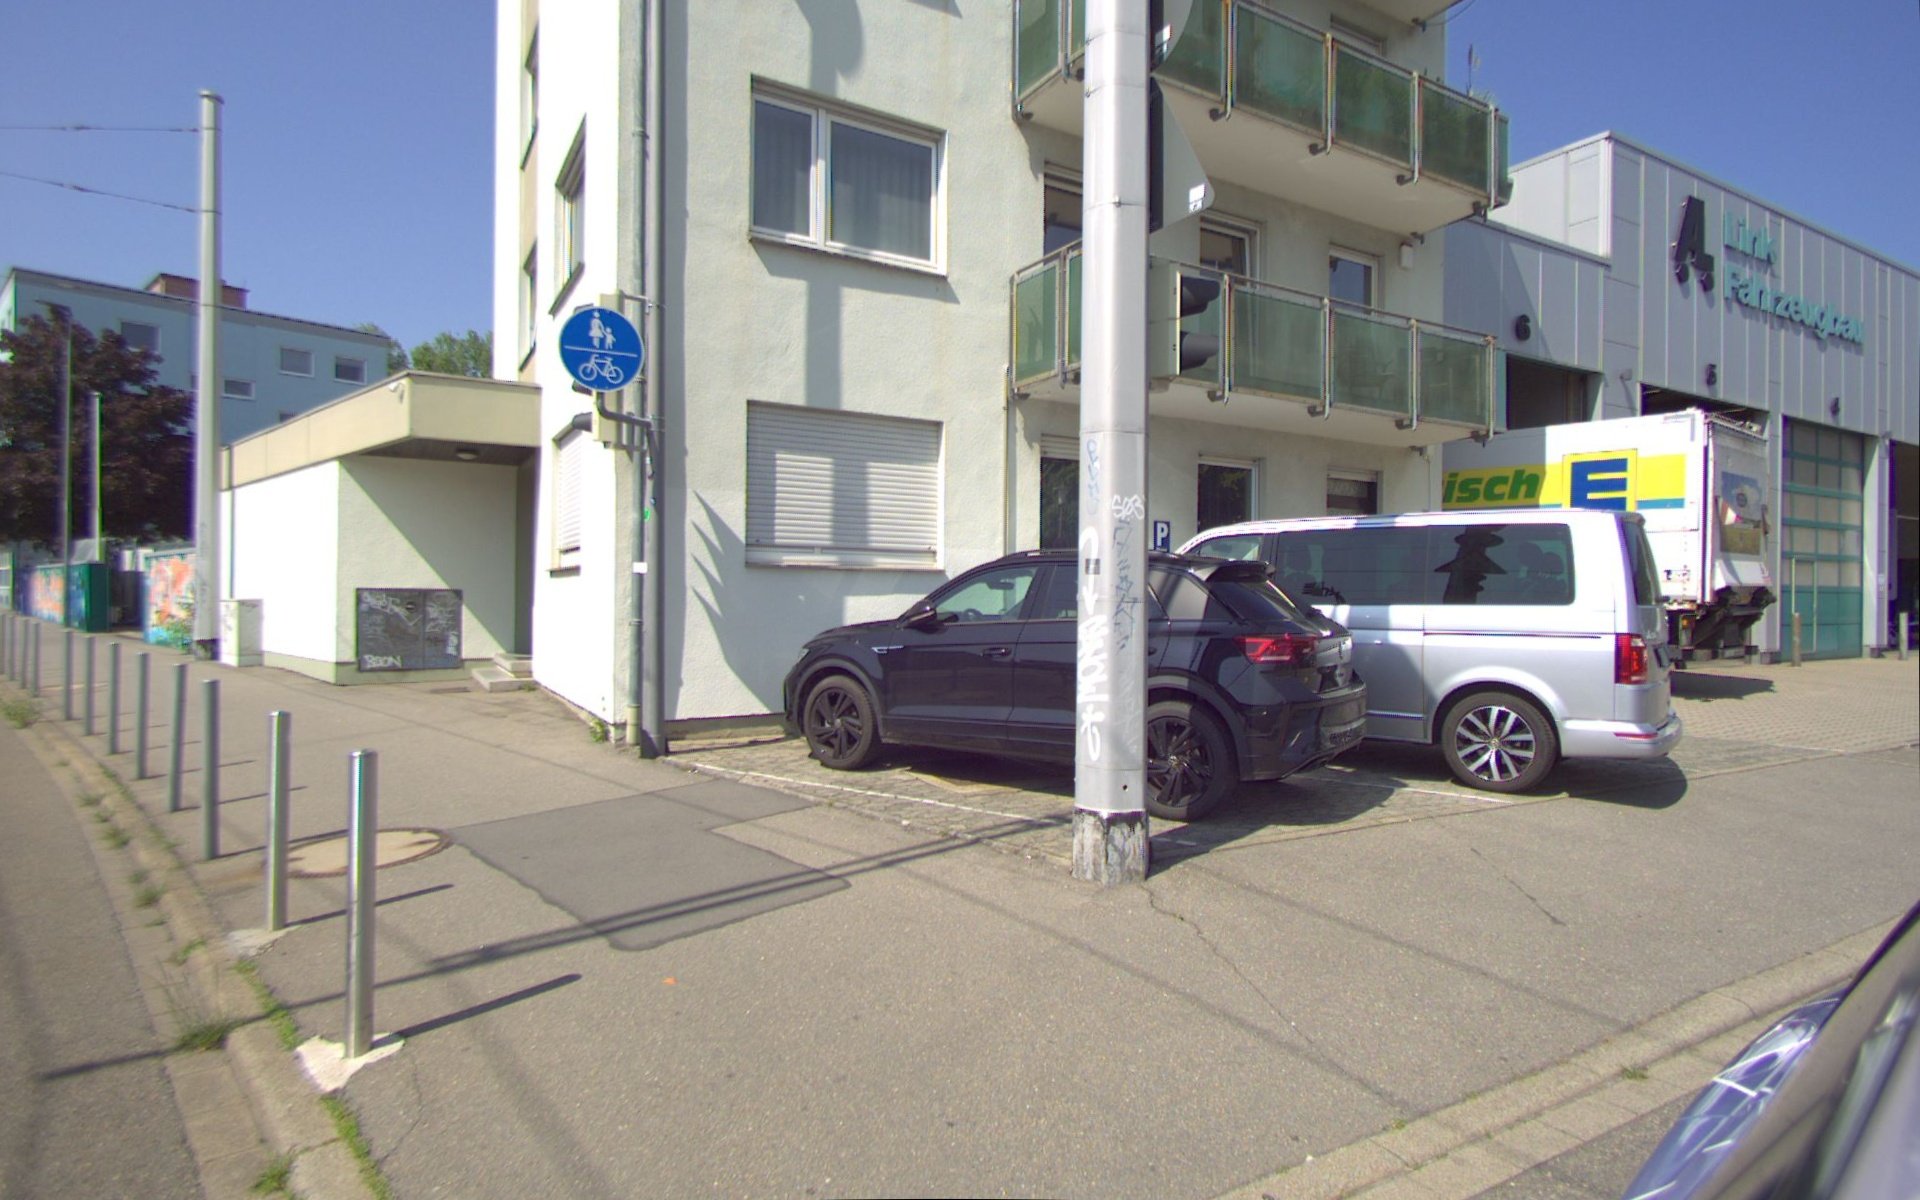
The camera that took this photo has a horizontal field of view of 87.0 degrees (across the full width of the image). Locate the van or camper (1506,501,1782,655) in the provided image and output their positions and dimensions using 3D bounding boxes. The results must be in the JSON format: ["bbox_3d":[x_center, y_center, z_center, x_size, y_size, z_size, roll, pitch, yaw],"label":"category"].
[{"bbox_3d":[15.989,-0.476,23.986,1.961,3.246,5.062,0,0,-32],"label":"van or camper"}]

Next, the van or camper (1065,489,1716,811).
[{"bbox_3d":[3.300,0.245,8.306,4.536,1.932,1.971,2,1,40],"label":"van or camper"}]

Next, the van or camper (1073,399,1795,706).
[{"bbox_3d":[6.971,-0.671,17.834,2.729,3.739,11.634,0,1,-36],"label":"van or camper"}]

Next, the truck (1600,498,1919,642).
[{"bbox_3d":[24.364,-0.872,30.889,2.571,3.829,7.871,1,1,-29],"label":"truck"}]

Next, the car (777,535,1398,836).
[{"bbox_3d":[0.772,0.405,7.103,3.949,1.540,1.856,1,1,36],"label":"car"}]
